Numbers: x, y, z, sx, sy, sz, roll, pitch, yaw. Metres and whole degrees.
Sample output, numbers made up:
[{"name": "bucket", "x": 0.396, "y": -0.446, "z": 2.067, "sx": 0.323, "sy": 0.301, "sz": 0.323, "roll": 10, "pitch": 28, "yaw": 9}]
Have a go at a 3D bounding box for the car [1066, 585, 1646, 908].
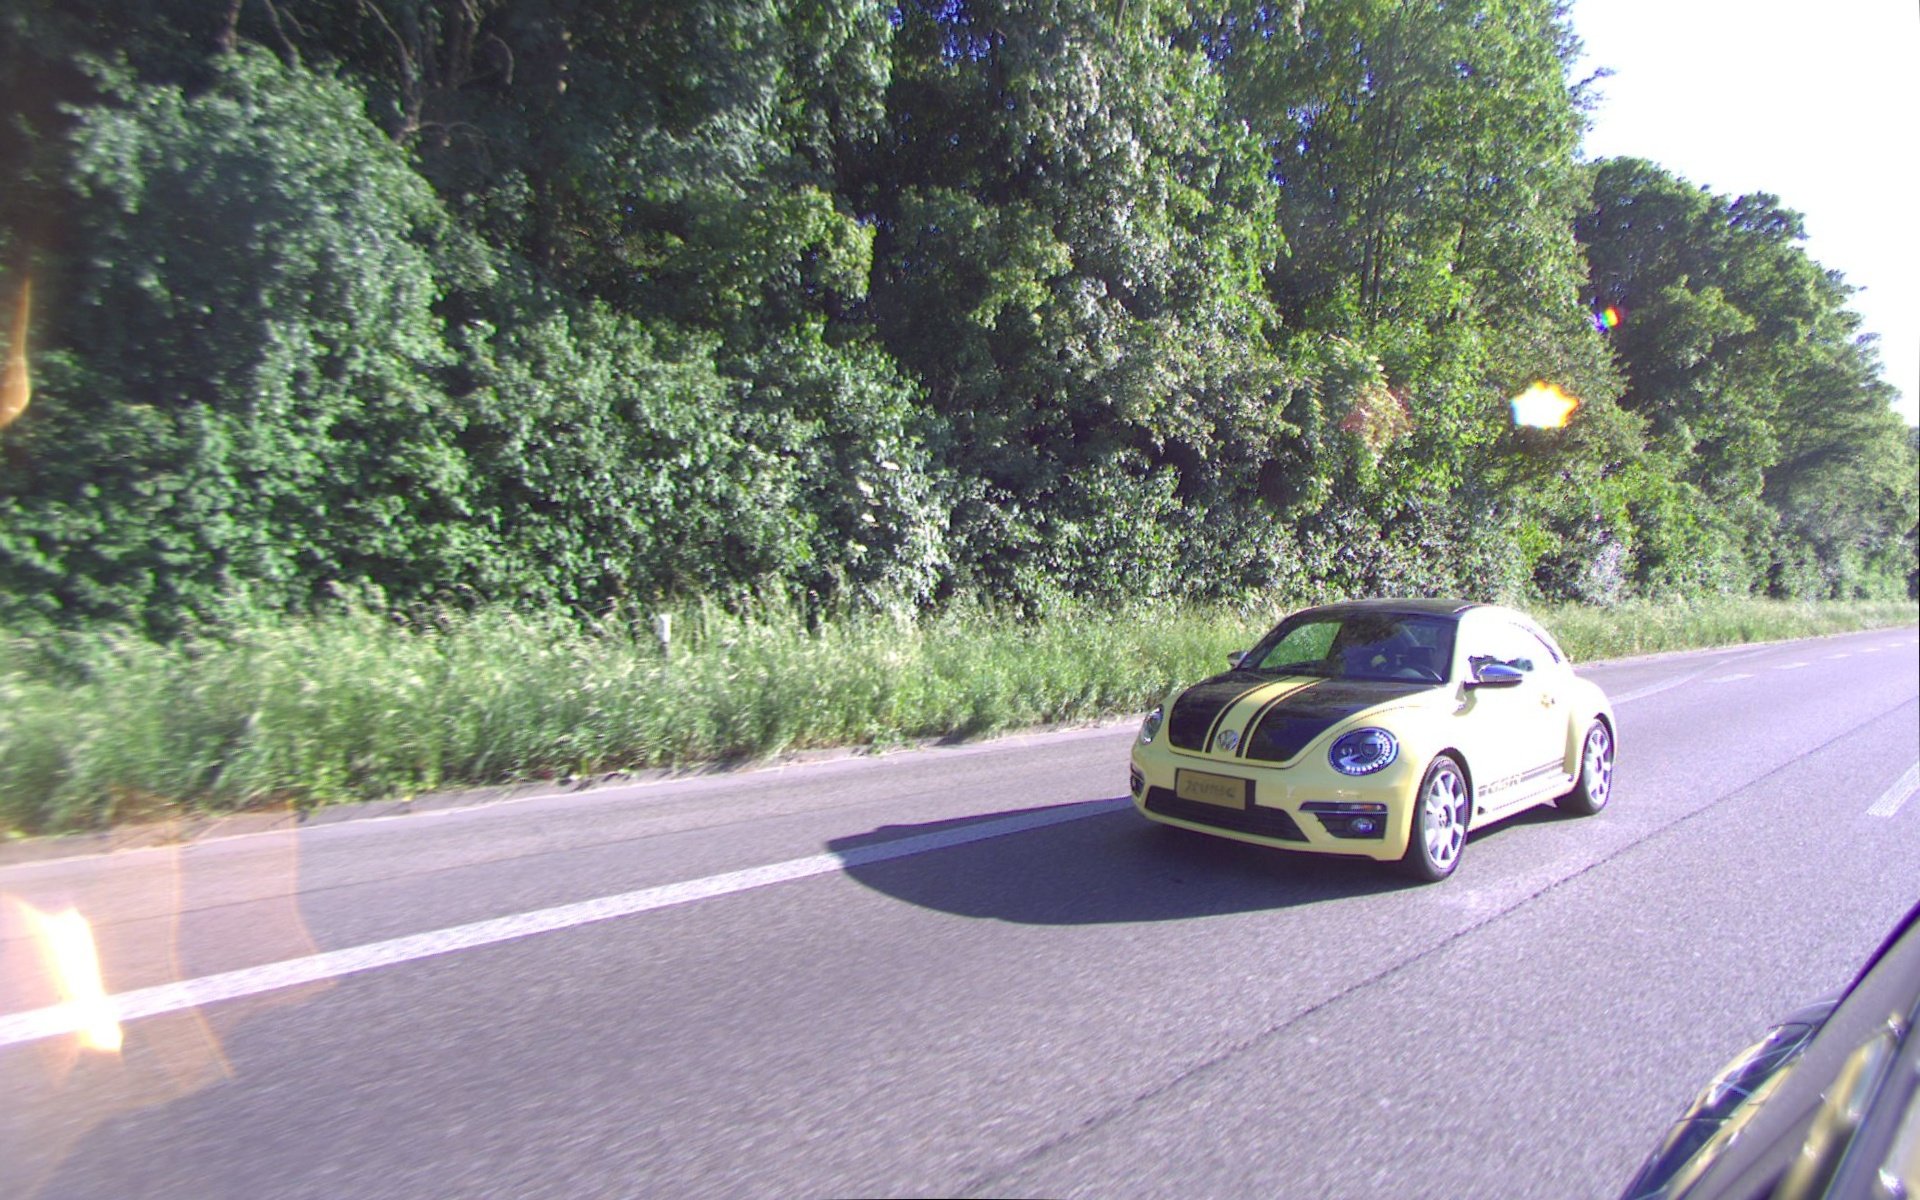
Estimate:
[{"name": "car", "x": 2.857, "y": 0.657, "z": 6.779, "sx": 4.280, "sy": 1.480, "sz": 1.883, "roll": 0, "pitch": 1, "yaw": -41}]
